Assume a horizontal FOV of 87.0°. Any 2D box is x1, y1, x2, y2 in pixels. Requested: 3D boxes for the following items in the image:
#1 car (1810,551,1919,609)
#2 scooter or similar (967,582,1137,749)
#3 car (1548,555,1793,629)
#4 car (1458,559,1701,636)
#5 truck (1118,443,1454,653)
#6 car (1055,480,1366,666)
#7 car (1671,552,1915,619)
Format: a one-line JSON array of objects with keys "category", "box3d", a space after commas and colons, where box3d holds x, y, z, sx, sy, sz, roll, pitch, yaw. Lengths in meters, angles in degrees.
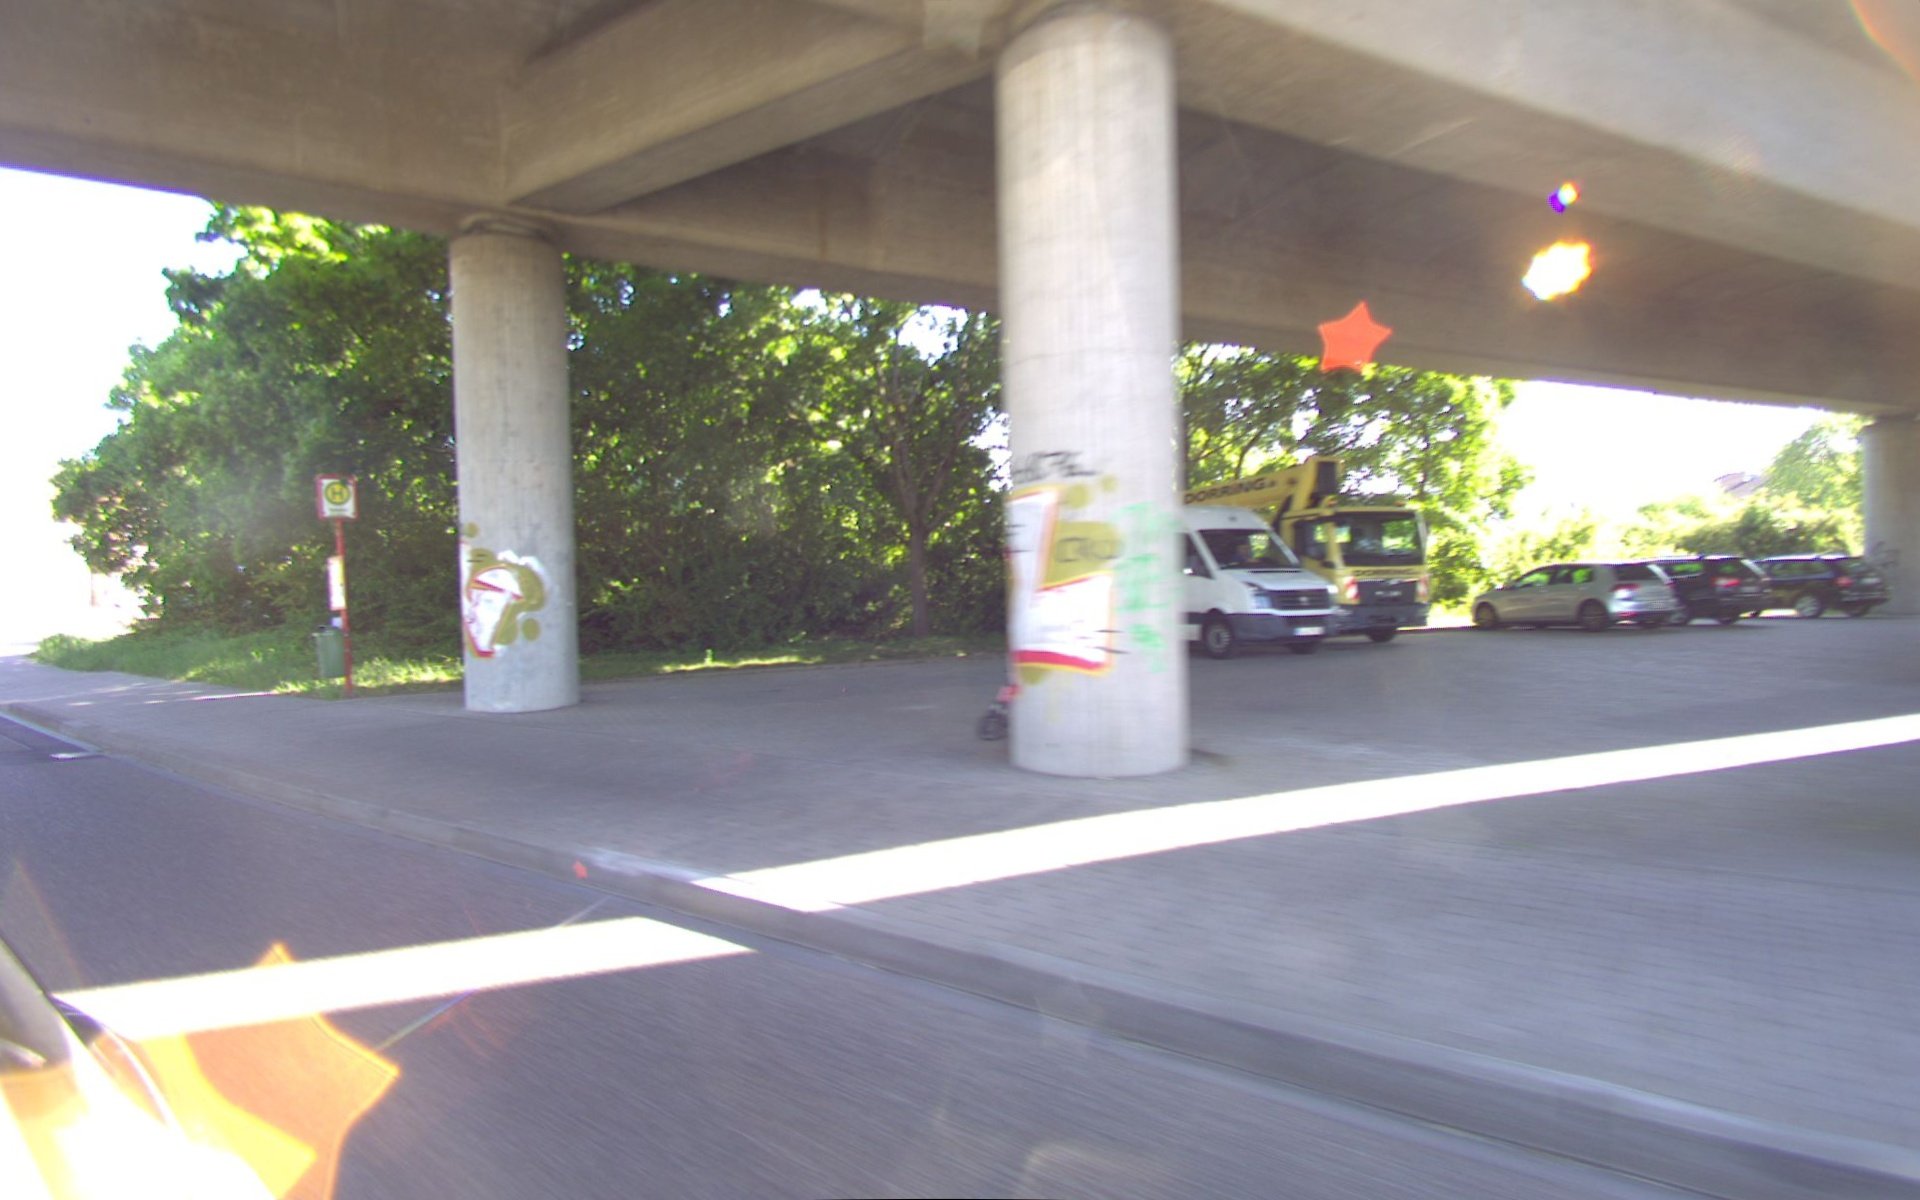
[{"category": "car", "box3d": [24.991, -0.531, 26.235, 1.711, 1.453, 4.263, -2, 0, -16]}, {"category": "scooter or similar", "box3d": [0.769, 0.522, 8.574, 1.287, 1.310, 0.580, -2, 0, -14]}, {"category": "car", "box3d": [15.666, -0.171, 22.613, 1.710, 1.453, 4.264, -2, 0, -19]}, {"category": "car", "box3d": [12.997, -0.055, 21.575, 1.710, 1.453, 4.264, -2, 0, -19]}, {"category": "truck", "box3d": [6.329, -0.919, 21.401, 2.440, 3.578, 7.993, -2, 0, -18]}, {"category": "car", "box3d": [4.045, -0.351, 17.841, 1.913, 2.702, 6.029, -2, -1, -24]}, {"category": "car", "box3d": [19.961, -0.323, 24.491, 1.710, 1.453, 4.264, -2, 0, -19]}]
